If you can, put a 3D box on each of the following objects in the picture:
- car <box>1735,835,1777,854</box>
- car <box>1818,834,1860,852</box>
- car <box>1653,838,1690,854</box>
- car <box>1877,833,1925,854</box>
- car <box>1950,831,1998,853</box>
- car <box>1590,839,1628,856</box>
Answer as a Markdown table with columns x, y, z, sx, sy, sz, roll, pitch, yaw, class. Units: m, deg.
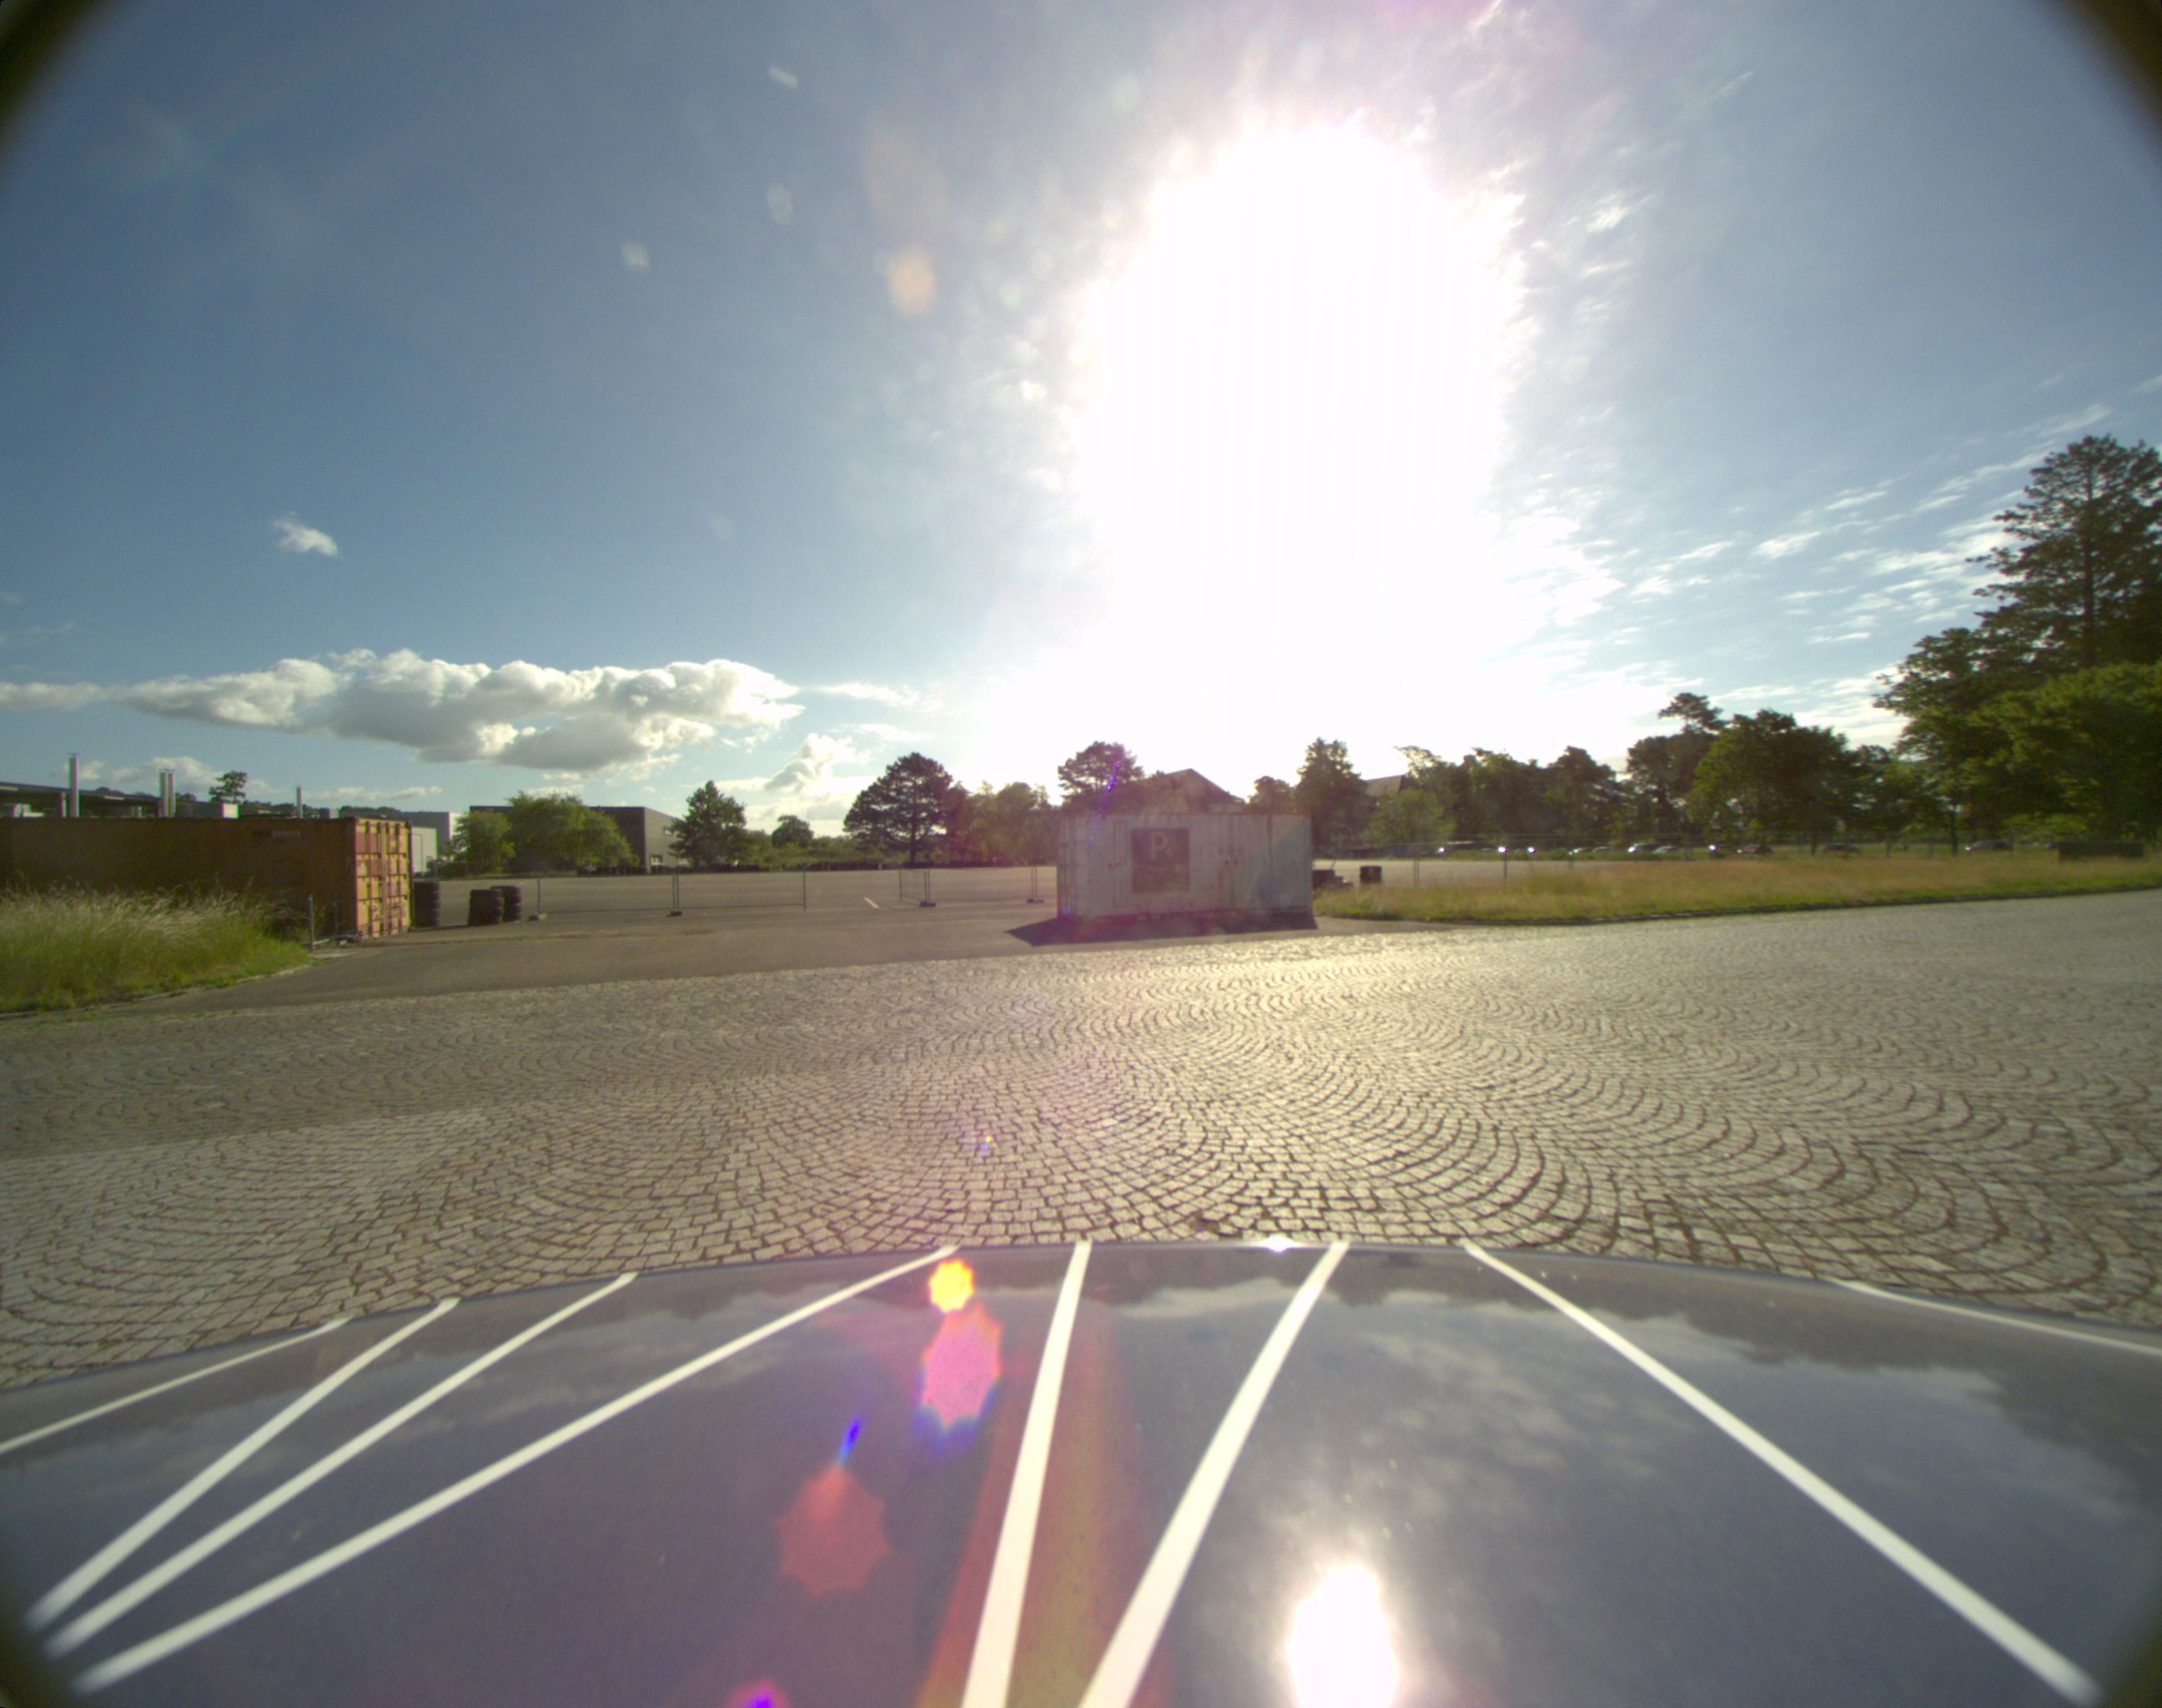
| x | y | z | sx | sy | sz | roll | pitch | yaw | class |
| --- | --- | --- | --- | --- | --- | --- | --- | --- | --- |
| 76.980 | -1.080 | 86.656 | 4.004 | 2.002 | 1.996 | -1 | 1 | -22 | car |
| 79.460 | -1.140 | 79.617 | 4.005 | 1.805 | 1.996 | -1 | 1 | -27 | car |
| 74.003 | -1.045 | 95.240 | 4.004 | 1.936 | 1.996 | -1 | 1 | -23 | car |
| 81.411 | -1.068 | 75.396 | 4.004 | 2.002 | 1.996 | -1 | 1 | -23 | car |
| 82.600 | -1.120 | 70.285 | 4.005 | 2.002 | 1.996 | -1 | 1 | -27 | car |
| 71.255 | -0.865 | 102.526 | 4.001 | 2.001 | 1.998 | -2 | -2 | -14 | car |
